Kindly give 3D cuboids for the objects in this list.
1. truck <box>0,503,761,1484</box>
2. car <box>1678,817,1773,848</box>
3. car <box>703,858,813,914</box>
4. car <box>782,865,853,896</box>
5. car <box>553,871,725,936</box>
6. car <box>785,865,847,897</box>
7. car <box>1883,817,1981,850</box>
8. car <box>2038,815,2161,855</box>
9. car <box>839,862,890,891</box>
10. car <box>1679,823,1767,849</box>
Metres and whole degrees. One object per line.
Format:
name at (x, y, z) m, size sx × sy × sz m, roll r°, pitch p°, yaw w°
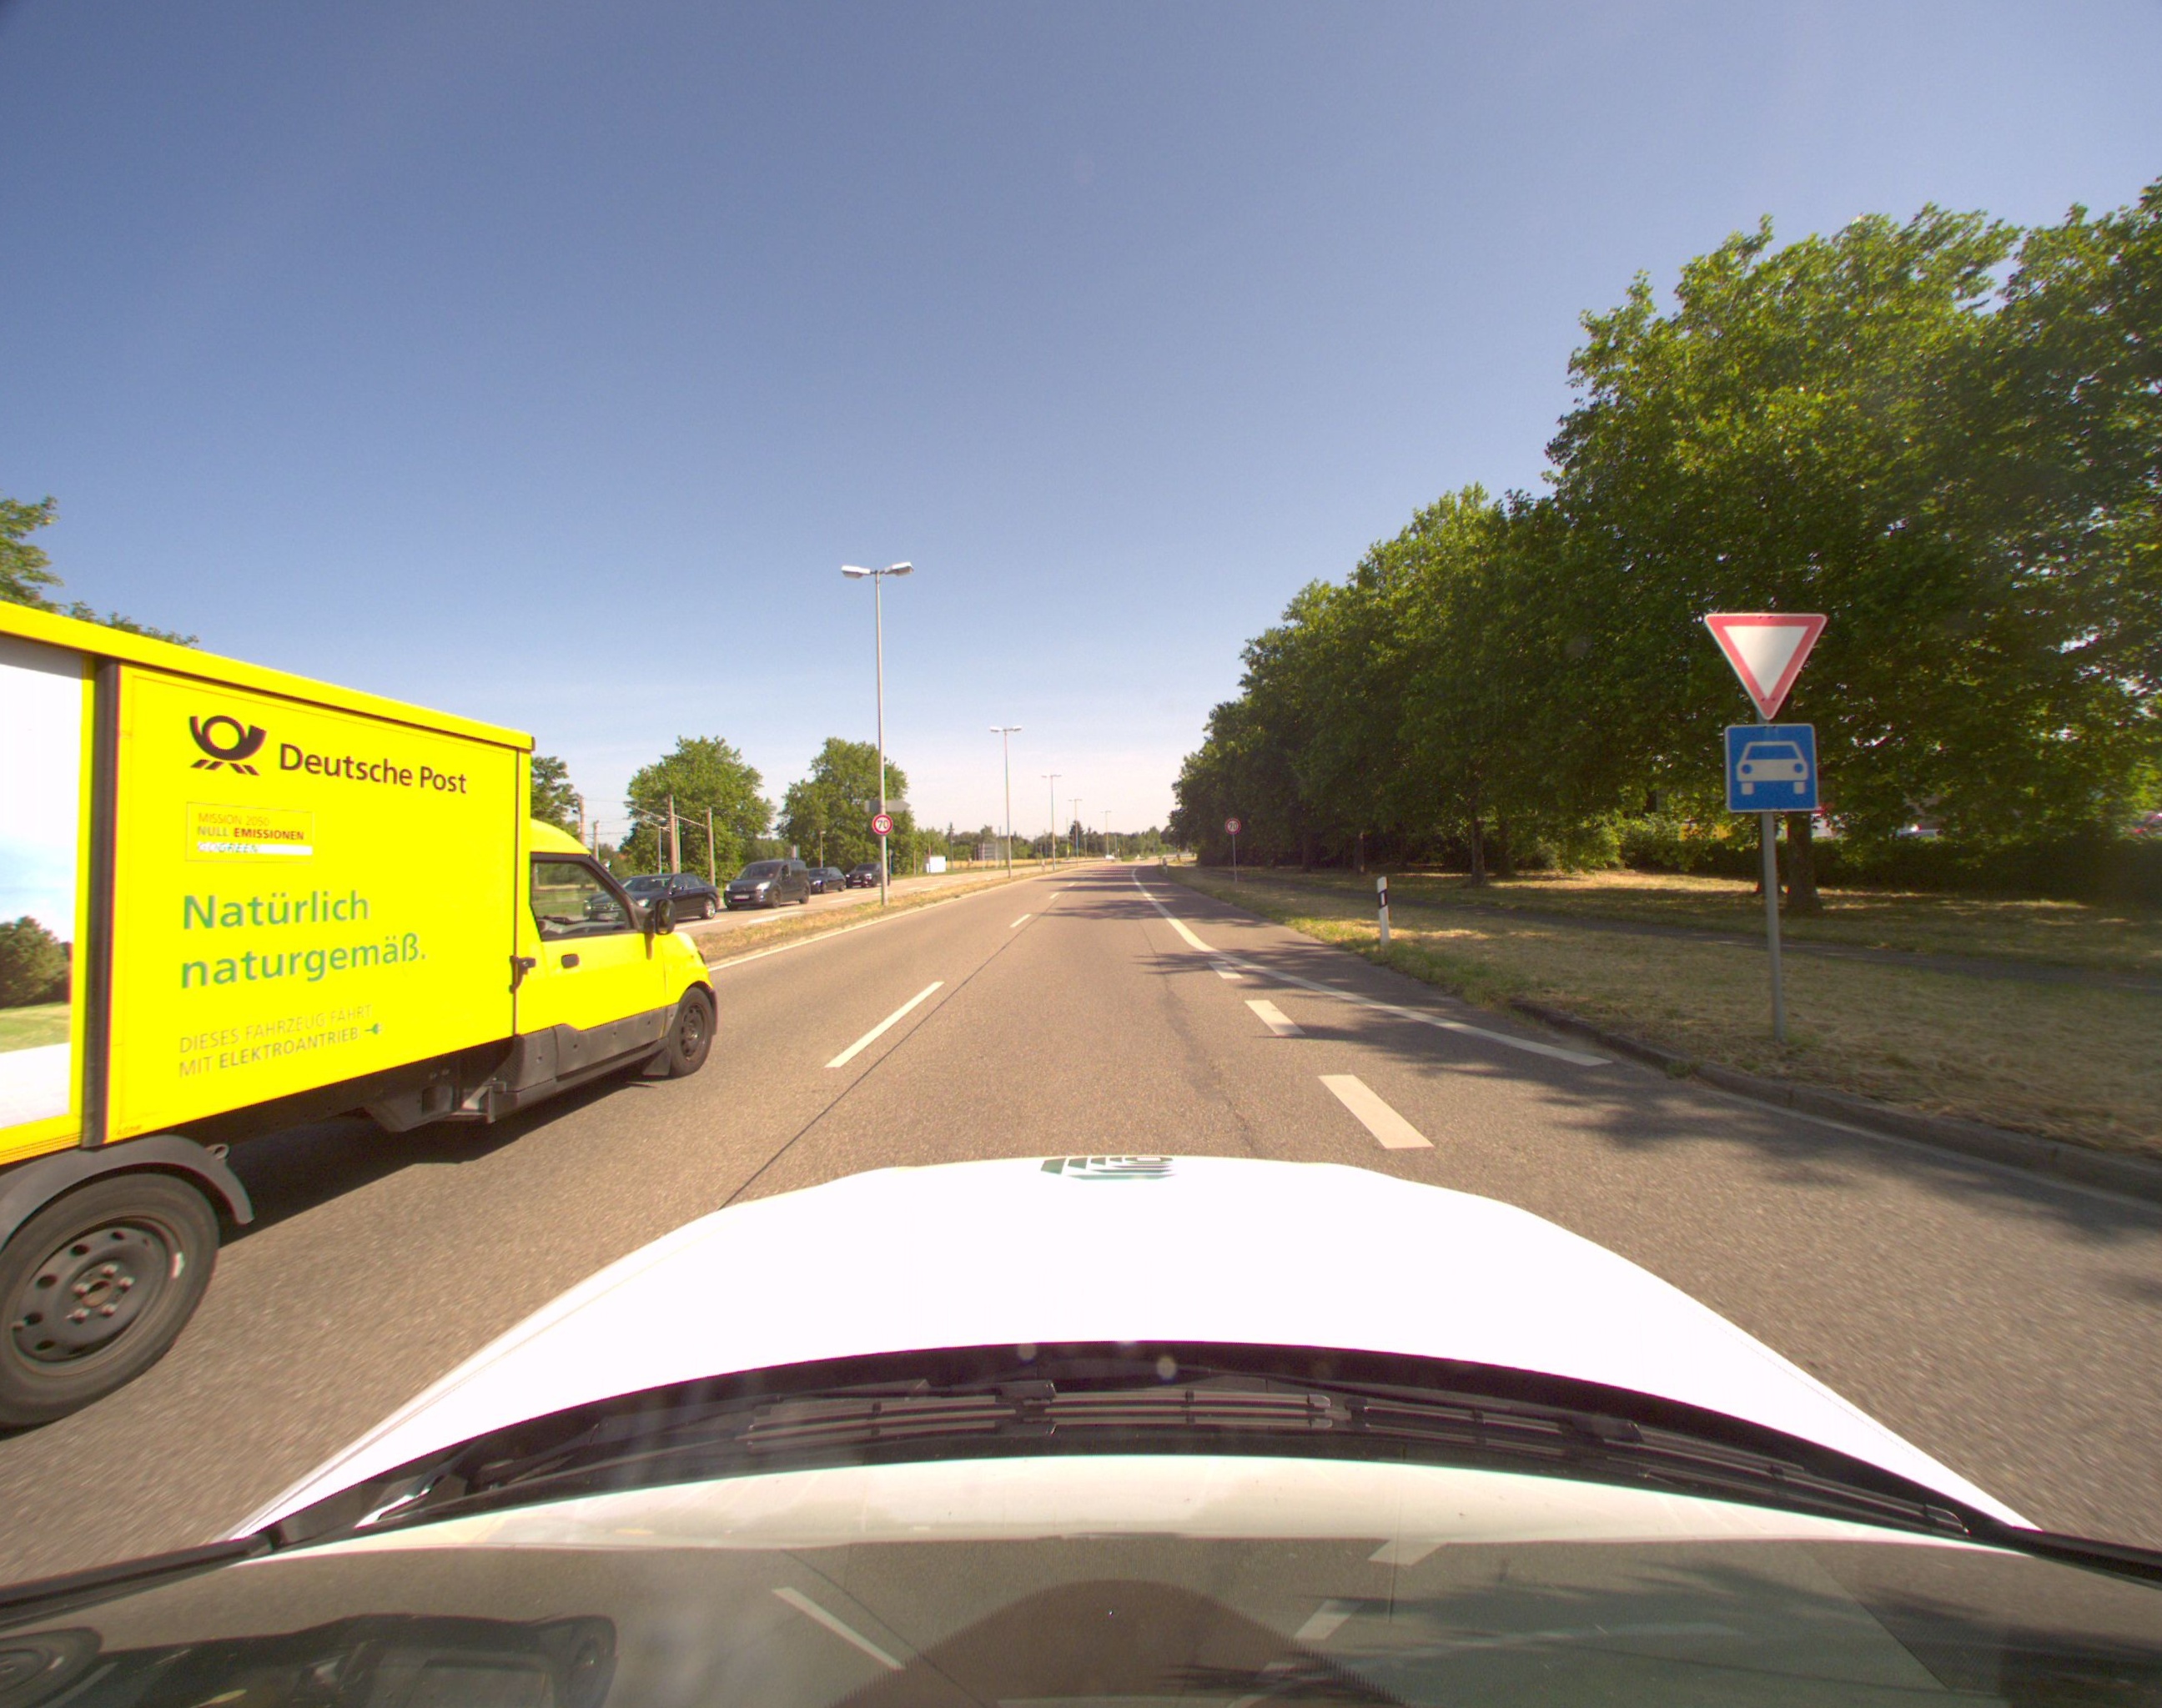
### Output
truck at (-3.733, 0.367, 3.671) m, size 2.104 × 2.457 × 5.918 m, roll -1°, pitch 0°, yaw 1°
car at (38.391, -1.261, 48.587) m, size 3.959 × 1.684 × 2.007 m, roll -1°, pitch -1°, yaw 13°
car at (-11.683, 1.100, 29.841) m, size 1.973 × 1.779 × 4.493 m, roll -2°, pitch 0°, yaw 3°
car at (-14.688, 1.462, 45.699) m, size 2.061 × 1.529 × 4.692 m, roll -2°, pitch 0°, yaw 5°
car at (-11.835, 1.261, 22.219) m, size 1.972 × 1.457 × 4.455 m, roll -2°, pitch 0°, yaw 4°
car at (-14.725, 1.470, 45.587) m, size 1.856 × 1.545 × 4.407 m, roll -3°, pitch 0°, yaw 1°
car at (55.073, -1.305, 52.770) m, size 3.963 × 2.014 × 2.005 m, roll -1°, pitch -1°, yaw 9°
car at (49.911, -0.909, 39.438) m, size 4.470 × 1.750 × 1.991 m, roll -2°, pitch 0°, yaw 6°
car at (-14.264, 1.446, 53.918) m, size 1.974 × 1.660 × 4.558 m, roll -2°, pitch 0°, yaw 2°
car at (40.825, -1.117, 51.897) m, size 3.956 × 1.585 × 2.009 m, roll -1°, pitch -1°, yaw 17°
